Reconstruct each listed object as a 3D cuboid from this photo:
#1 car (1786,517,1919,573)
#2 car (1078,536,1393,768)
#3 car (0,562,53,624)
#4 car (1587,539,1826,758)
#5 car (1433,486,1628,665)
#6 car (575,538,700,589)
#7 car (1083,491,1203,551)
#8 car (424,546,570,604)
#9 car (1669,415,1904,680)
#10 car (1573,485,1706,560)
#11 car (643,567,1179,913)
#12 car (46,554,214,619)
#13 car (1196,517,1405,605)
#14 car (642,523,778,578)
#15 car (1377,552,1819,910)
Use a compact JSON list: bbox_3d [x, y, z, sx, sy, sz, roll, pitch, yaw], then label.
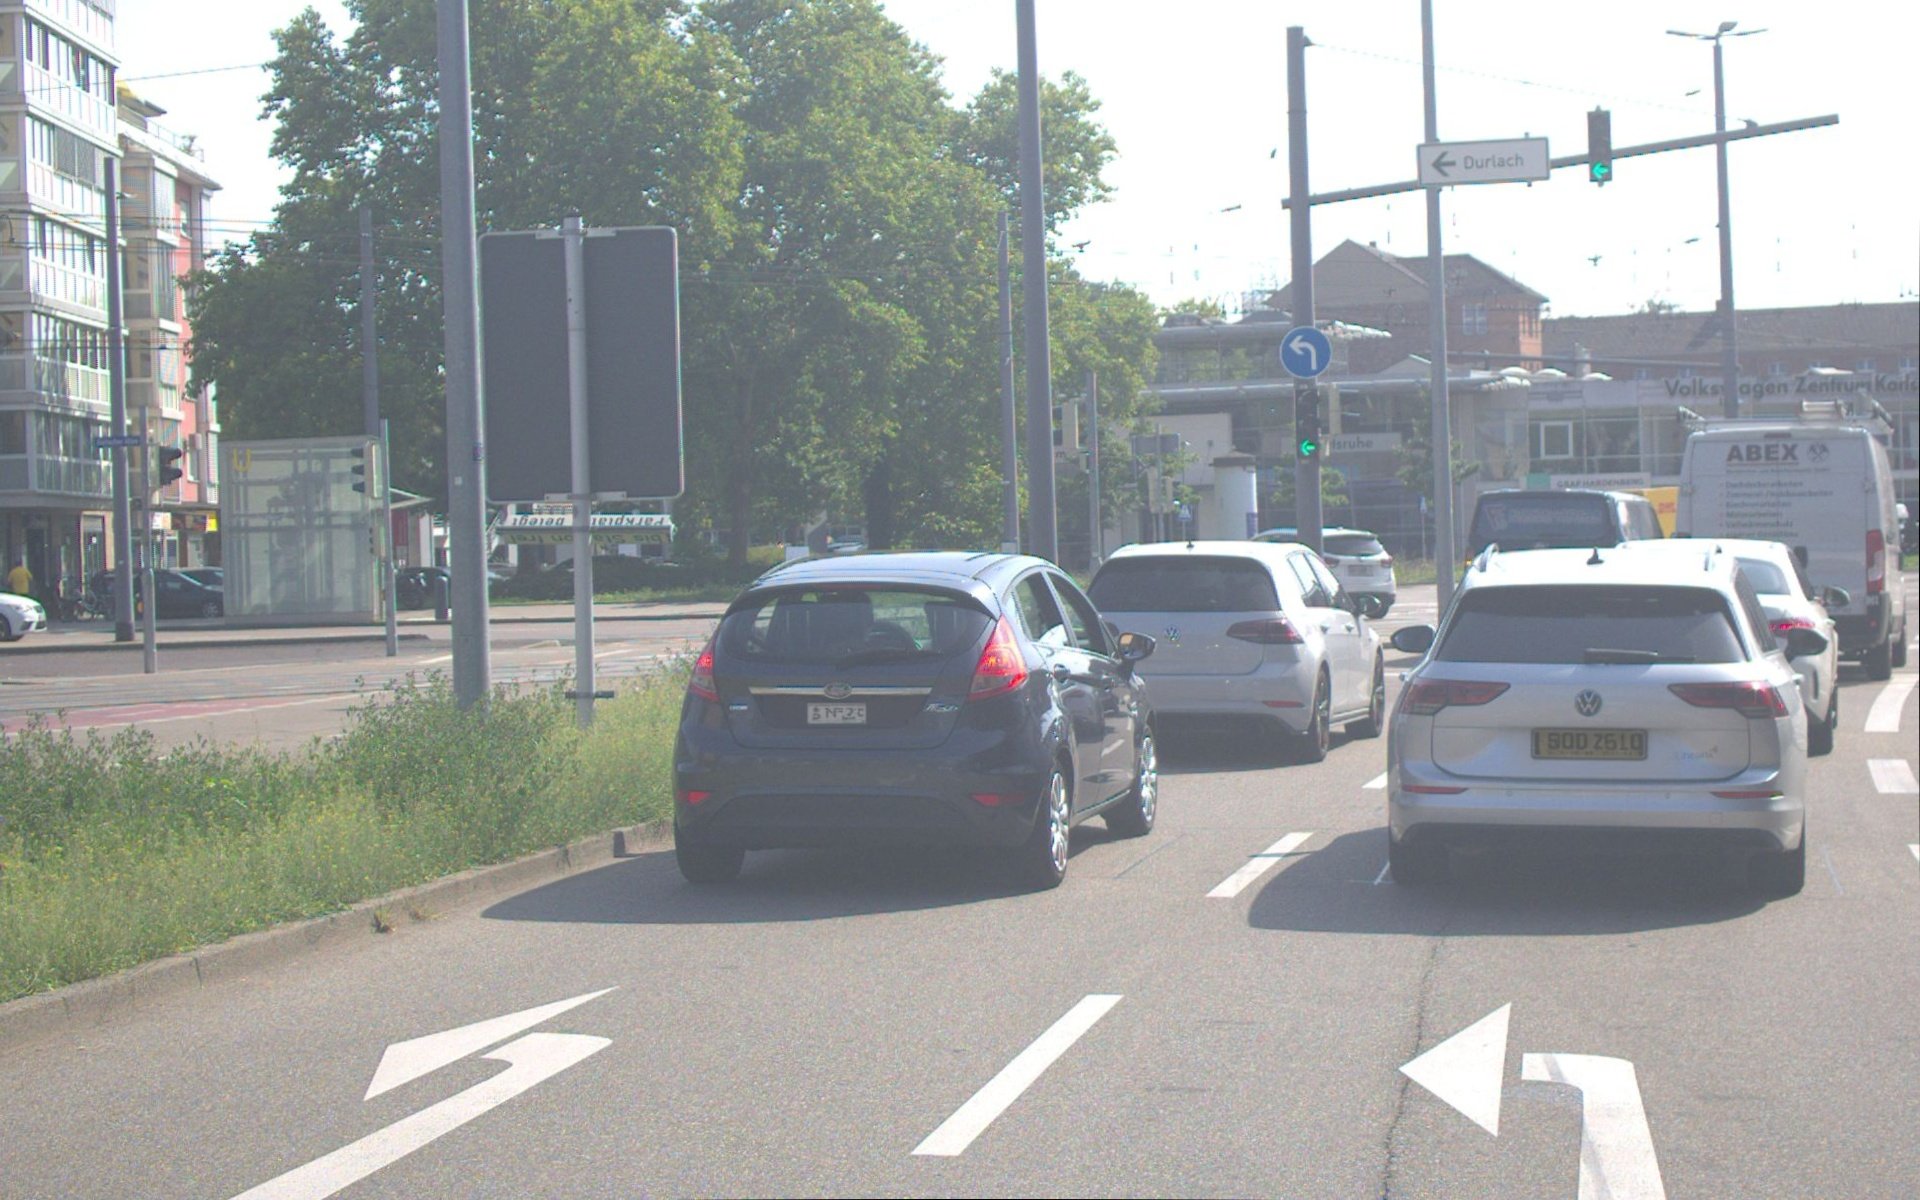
[{"bbox_3d":[23.551,-1.438,89.112,3.967,1.337,1.930,-1,1,7],"label":"car"},{"bbox_3d":[1.953,0.302,23.450,1.490,1.410,3.645,-1,2,15],"label":"car"},{"bbox_3d":[-19.875,-0.110,67.396,3.828,1.176,1.576,-1,1,-5],"label":"car"},{"bbox_3d":[5.233,0.297,24.029,1.490,1.398,3.940,-1,0,13],"label":"car"},{"bbox_3d":[6.918,-0.319,41.345,2.024,2.001,4.681,-1,1,13],"label":"car"},{"bbox_3d":[-10.680,-1.216,114.091,3.987,1.552,1.728,-1,1,-1],"label":"car"},{"bbox_3d":[6.533,-2.831,122.557,3.989,2.006,2.000,-1,3,11],"label":"car"},{"bbox_3d":[-13.387,-0.728,99.599,3.987,1.552,1.728,-1,1,-1],"label":"car"},{"bbox_3d":[8.599,-0.525,35.549,2.190,2.540,4.680,-1,0,15],"label":"car"},{"bbox_3d":[19.000,-2.171,96.045,1.997,2.007,4.655,-1,1,33],"label":"car"},{"bbox_3d":[-0.091,0.549,16.063,1.702,1.363,3.962,1,1,11],"label":"car"},{"bbox_3d":[-22.134,-0.371,91.755,3.987,1.552,1.869,-1,3,0],"label":"car"},{"bbox_3d":[5.977,-0.679,60.825,1.622,1.497,4.089,-1,1,-29],"label":"car"},{"bbox_3d":[-7.582,-1.498,104.511,3.987,1.552,1.728,-1,1,-1],"label":"car"},{"bbox_3d":[2.887,0.495,15.227,1.686,1.383,3.632,-1,0,13],"label":"car"}]
